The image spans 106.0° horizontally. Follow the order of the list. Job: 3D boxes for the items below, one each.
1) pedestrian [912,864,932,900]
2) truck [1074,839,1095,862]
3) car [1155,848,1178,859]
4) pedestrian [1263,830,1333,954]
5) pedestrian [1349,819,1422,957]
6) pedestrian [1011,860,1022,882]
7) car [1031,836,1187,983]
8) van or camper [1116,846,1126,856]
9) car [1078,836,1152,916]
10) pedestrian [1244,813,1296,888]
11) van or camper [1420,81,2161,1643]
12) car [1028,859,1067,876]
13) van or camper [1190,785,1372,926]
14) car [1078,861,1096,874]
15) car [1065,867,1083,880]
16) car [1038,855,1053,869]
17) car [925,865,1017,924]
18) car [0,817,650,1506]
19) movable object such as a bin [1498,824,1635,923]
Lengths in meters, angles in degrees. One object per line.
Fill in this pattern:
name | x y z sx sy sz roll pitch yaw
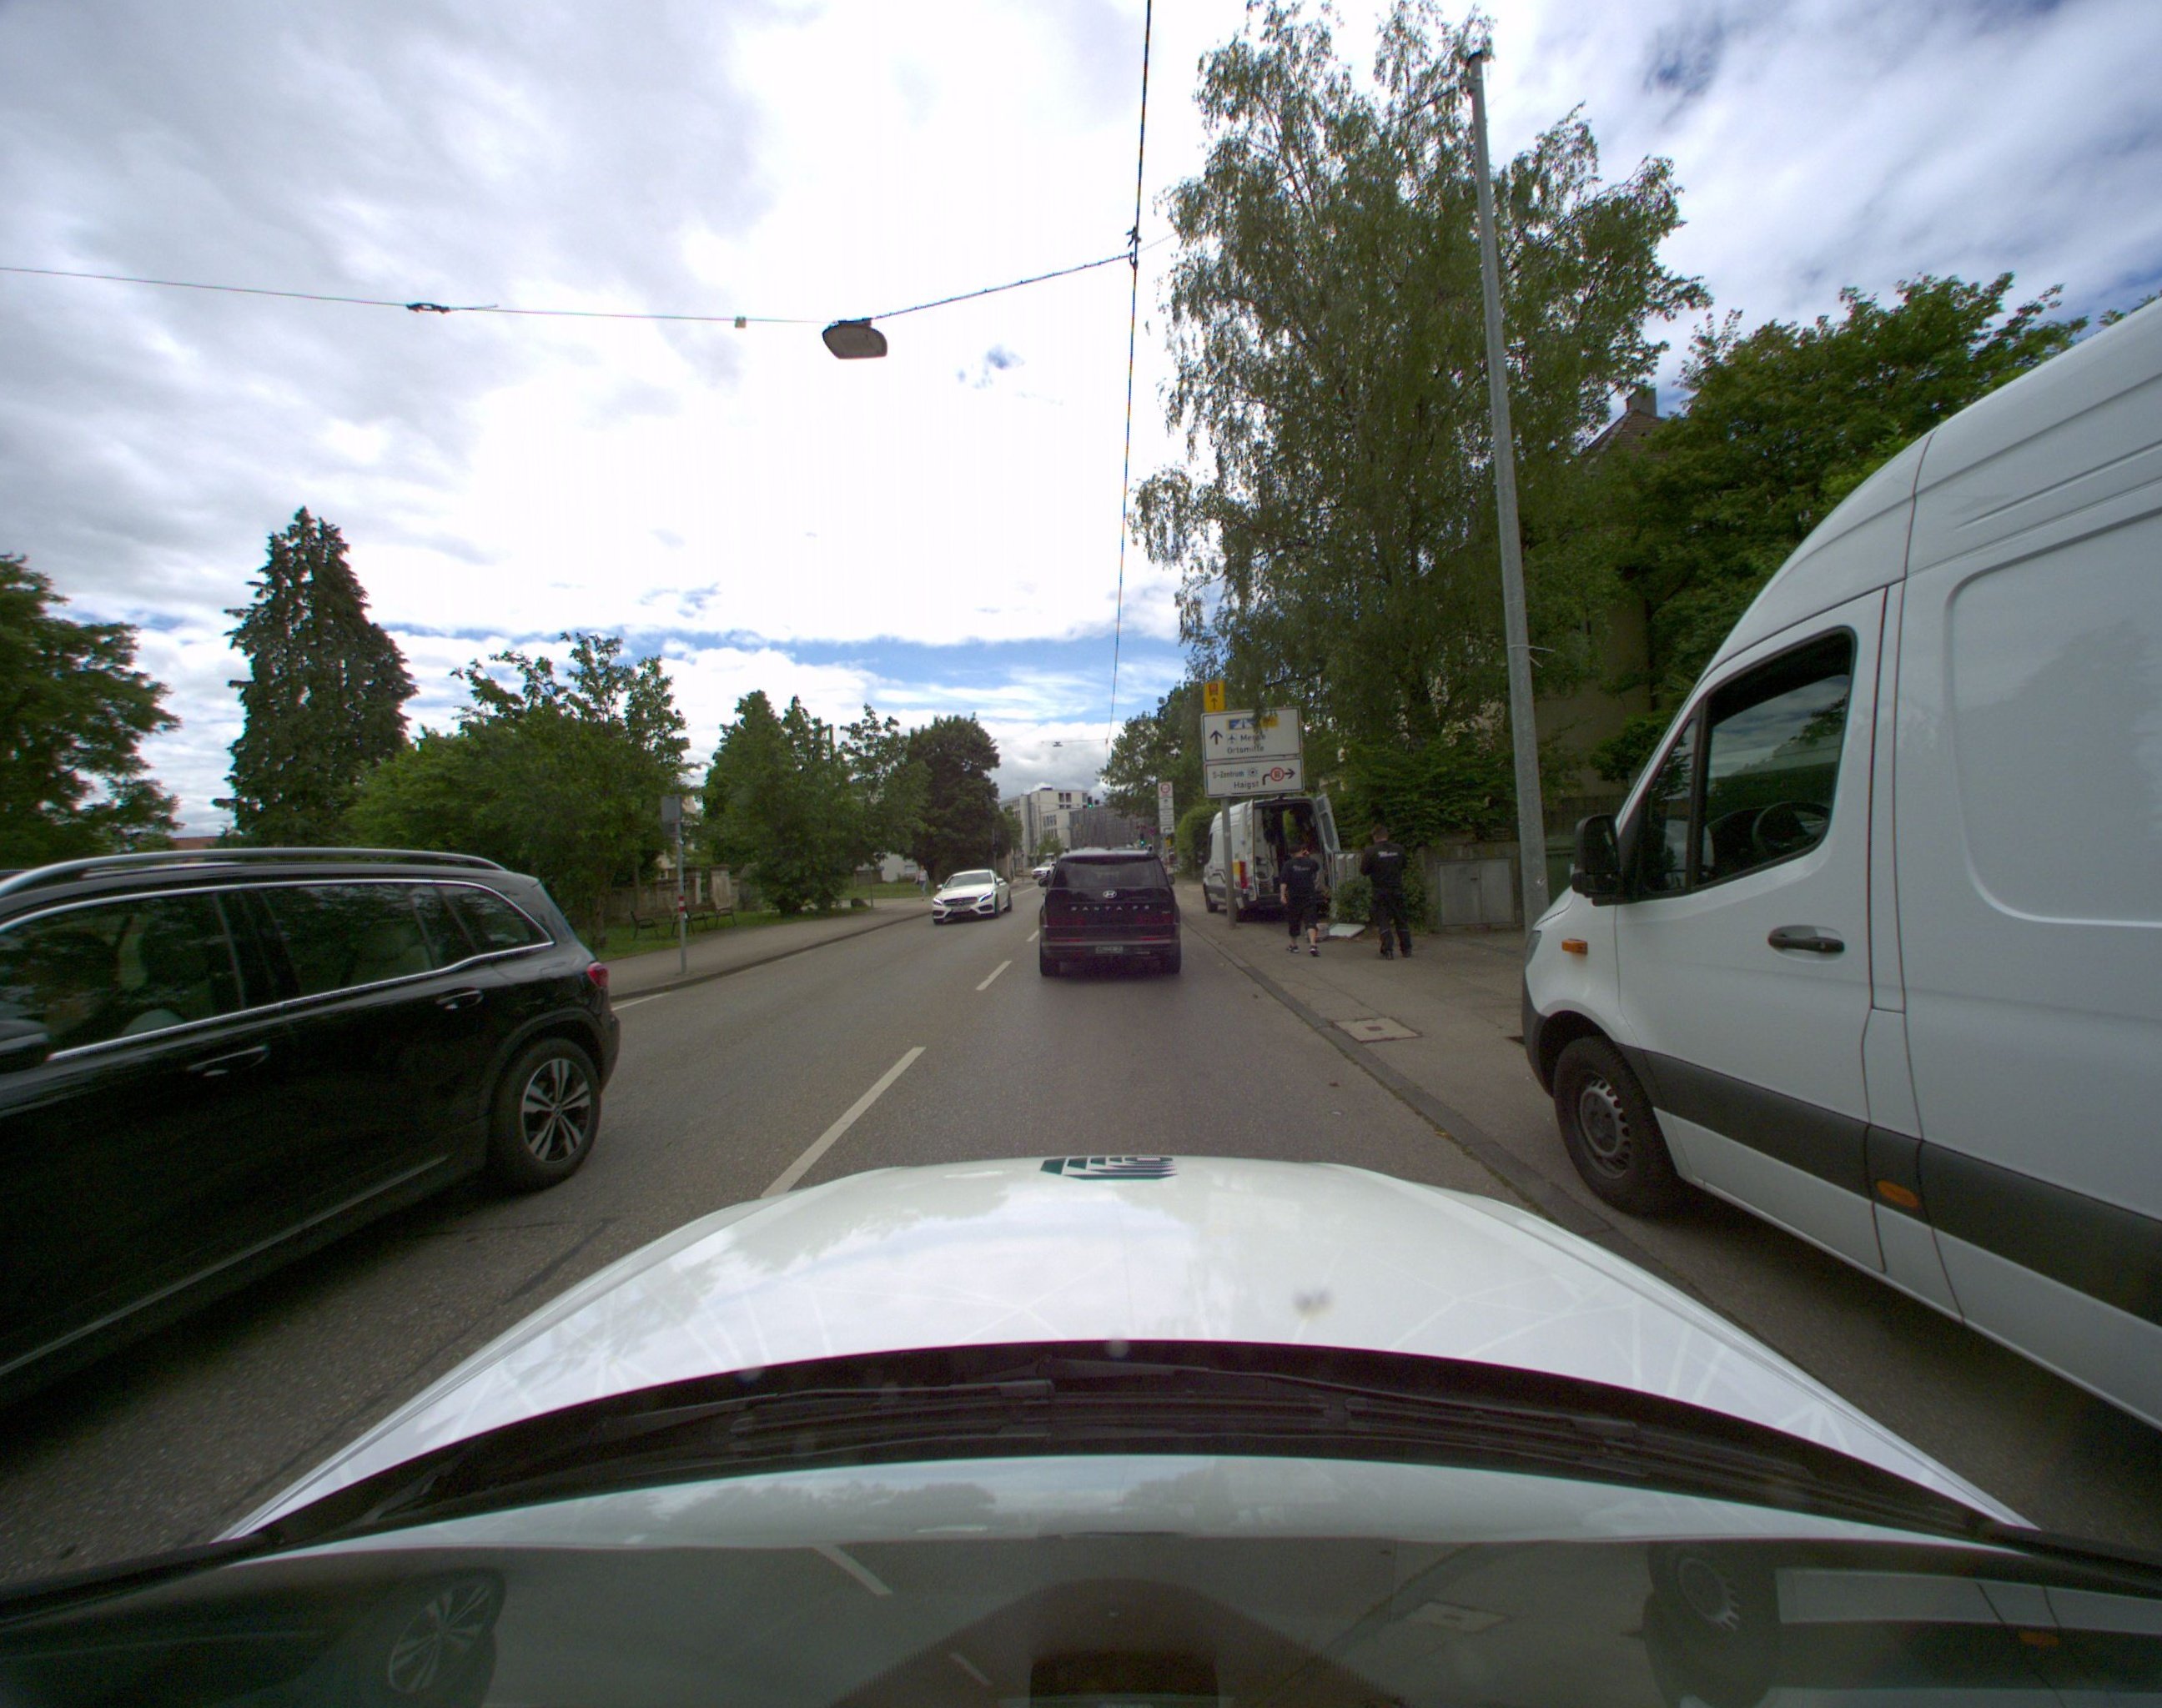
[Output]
pedestrian | -7.927 1.379 40.513 0.764 1.748 0.904 -1 -1 1
truck | 0.547 -0.566 151.505 3.101 3.859 9.607 -3 -1 -4
car | 14.138 -0.035 134.587 3.624 1.584 1.754 -3 -1 5
pedestrian | 3.189 0.556 11.948 0.743 1.721 0.796 -5 -3 24
pedestrian | 4.030 0.447 10.820 0.645 1.751 0.654 -3 -1 -1
pedestrian | -5.960 1.591 75.647 0.826 2.014 1.048 0 -1 4
car | 0.415 0.698 11.939 1.890 1.776 3.996 0 -1 2
van or camper | 8.212 -0.527 166.270 1.791 1.999 3.821 0 -1 -2
car | 0.939 0.579 22.760 1.890 2.042 3.996 0 -1 2
pedestrian | 4.304 -0.077 18.577 0.740 1.644 0.794 -3 -2 -26
van or camper | 2.783 0.005 0.992 1.983 2.625 6.547 -5 -1 2
car | -3.557 1.425 87.065 1.820 1.538 4.295 -3 -1 35
van or camper | 4.299 0.110 19.004 2.333 2.494 6.600 -6 -2 -1
car | 0.756 1.811 109.567 1.881 1.639 3.889 -3 -1 -6
car | -0.862 2.370 97.951 1.880 1.420 3.994 -3 -1 -4
car | -5.962 1.351 138.090 2.328 2.315 4.950 -3 -1 -4
car | -3.137 1.121 24.268 1.808 1.419 4.830 -6 -1 2
car | -3.542 0.816 2.645 1.873 1.644 4.129 -5 -1 1
movable object such as a bin | 8.026 0.318 13.552 1.415 1.462 1.298 -5 -1 1
